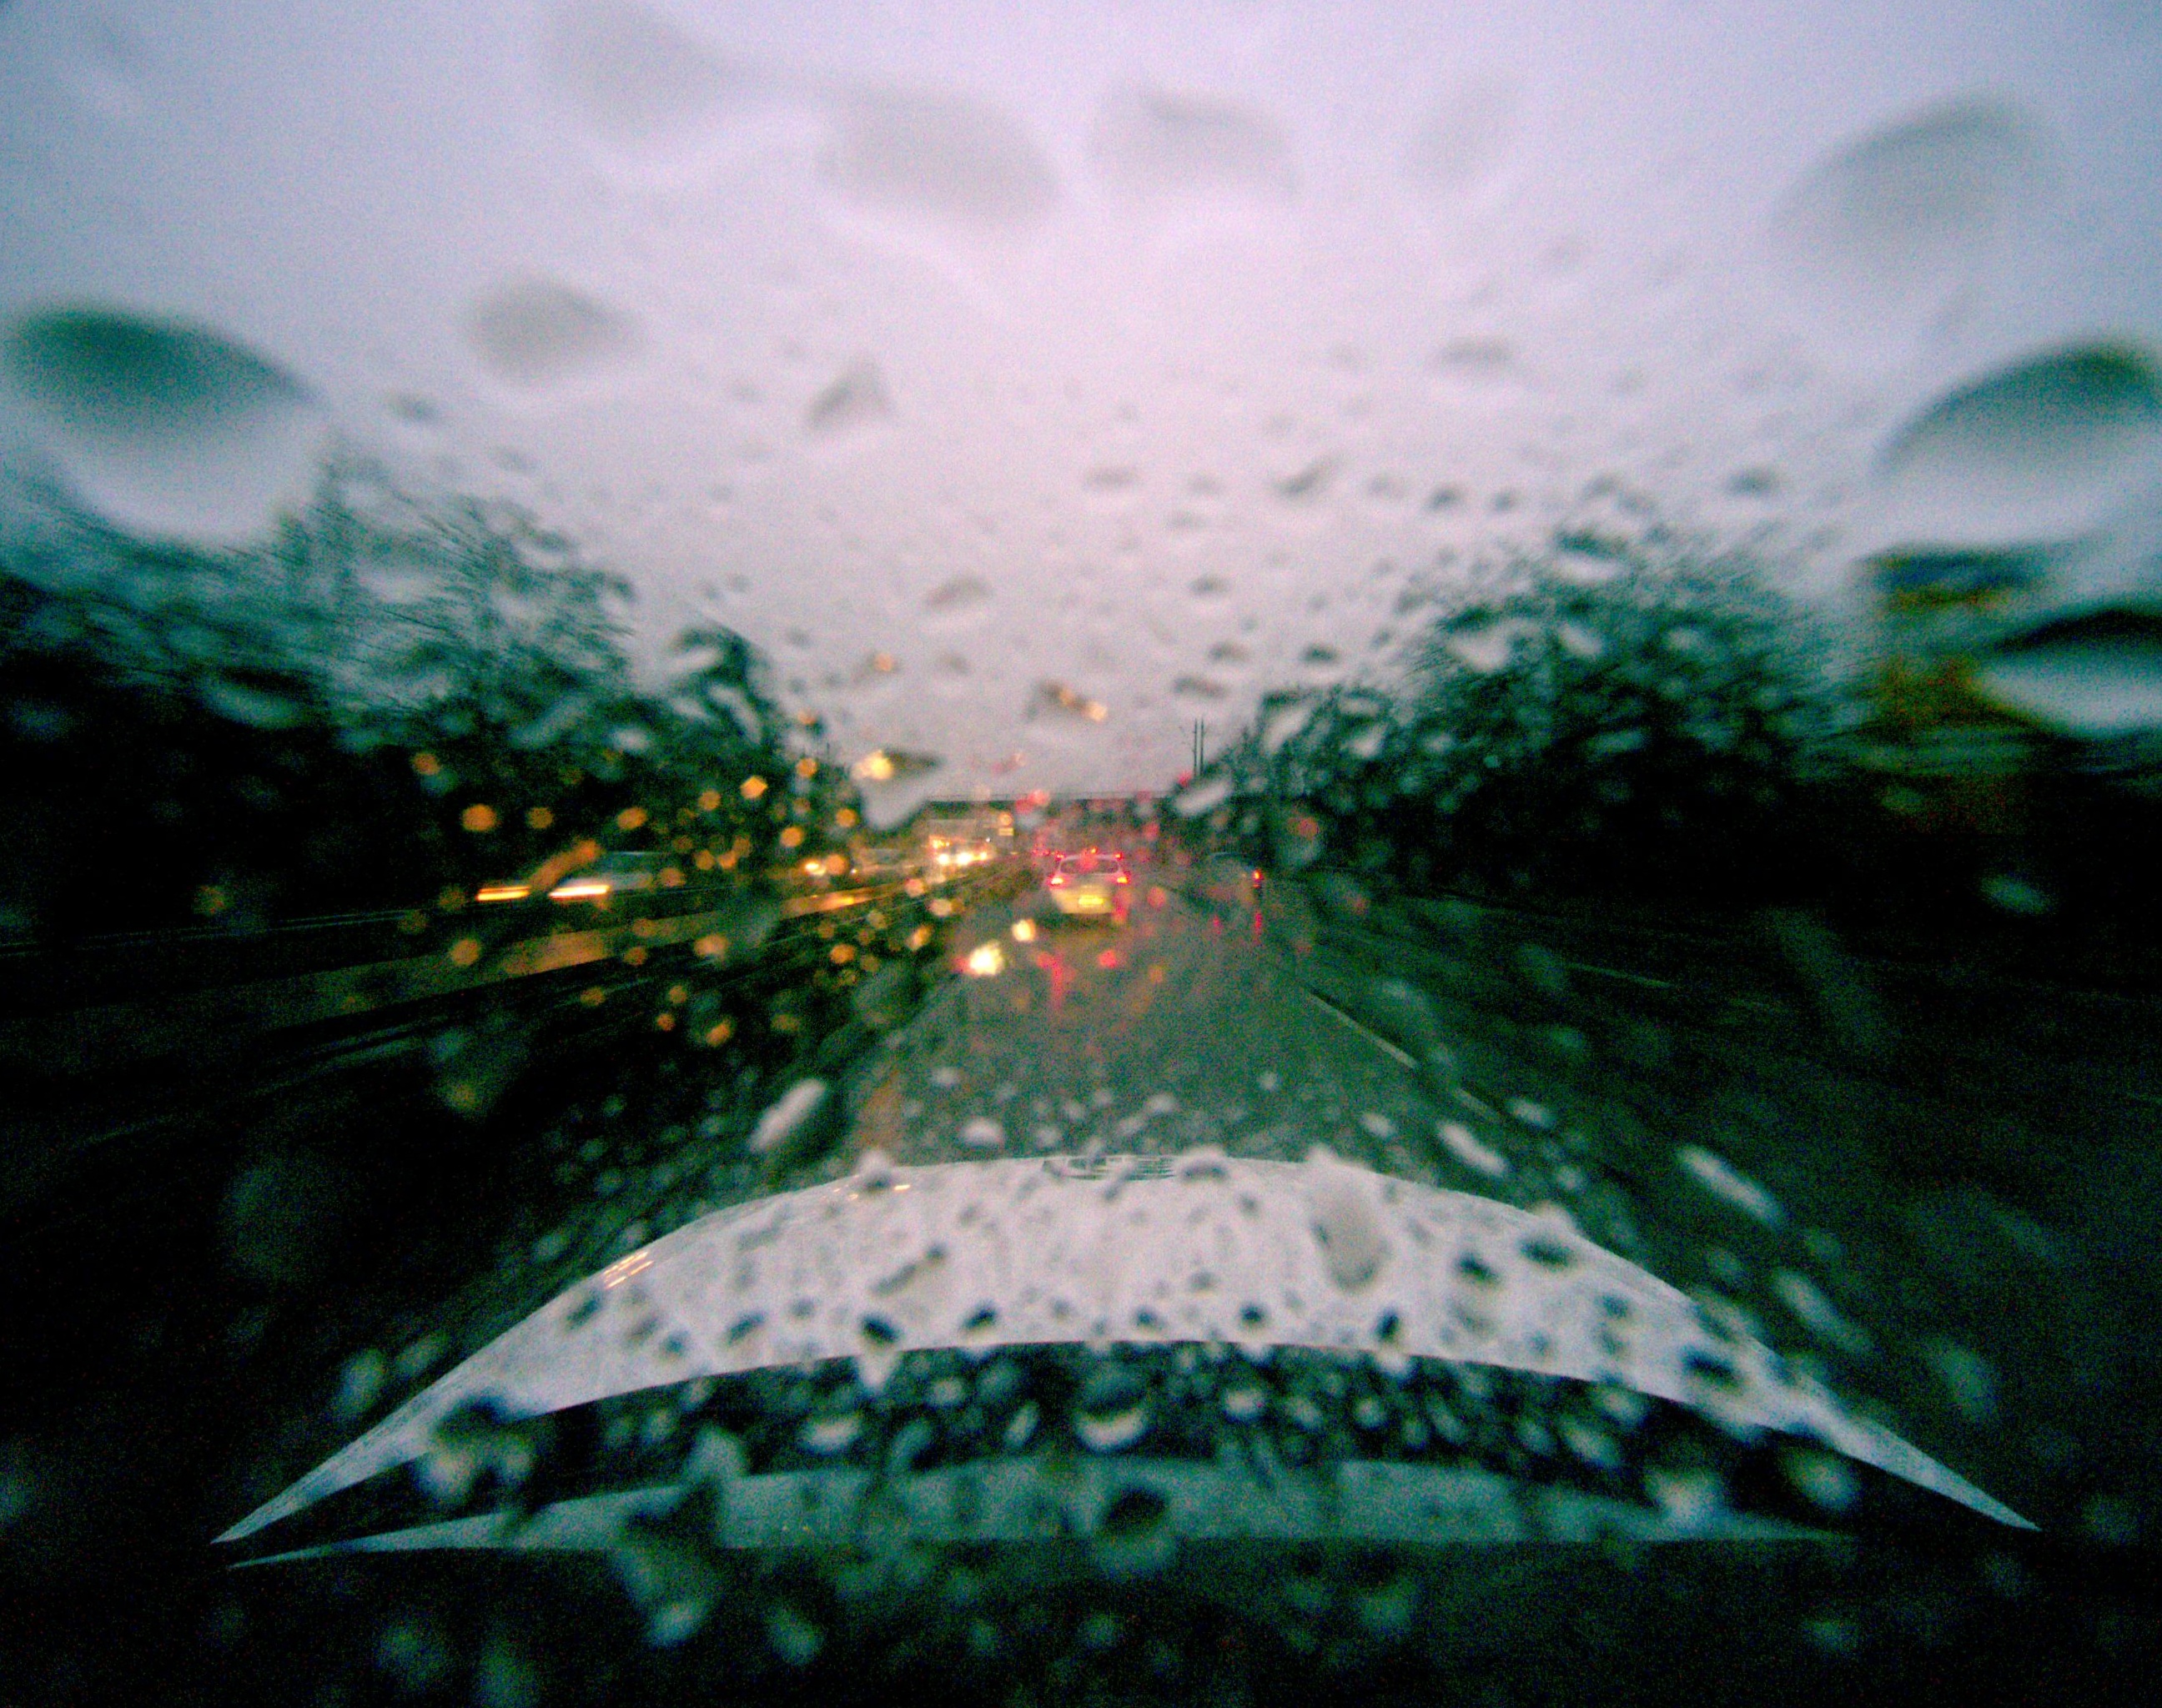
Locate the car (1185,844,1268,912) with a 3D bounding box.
[{"bbox_3d":[4.549,0.729,25.941,1.927,2.019,3.771,0,-1,-1],"label":"car"}]

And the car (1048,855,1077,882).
[{"bbox_3d":[-1.500,1.134,64.200,1.990,2.014,3.993,0,-1,-5],"label":"car"}]

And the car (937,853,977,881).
[{"bbox_3d":[-8.632,0.915,57.202,1.980,1.830,5.118,0,-1,0],"label":"car"}]

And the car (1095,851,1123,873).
[{"bbox_3d":[2.260,0.660,67.519,1.928,1.546,3.769,-6,-2,-2],"label":"car"}]

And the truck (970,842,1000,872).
[{"bbox_3d":[-10.736,0.352,91.411,2.708,3.161,7.721,0,-1,-3],"label":"truck"}]

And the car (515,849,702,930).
[{"bbox_3d":[-10.782,0.751,19.008,1.686,1.666,4.433,0,-1,1],"label":"car"}]

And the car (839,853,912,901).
[{"bbox_3d":[-7.723,0.840,31.022,1.761,1.684,3.999,0,-1,0],"label":"car"}]

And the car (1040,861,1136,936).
[{"bbox_3d":[0.103,0.962,19.141,2.019,1.575,3.997,0,-1,-2],"label":"car"}]
